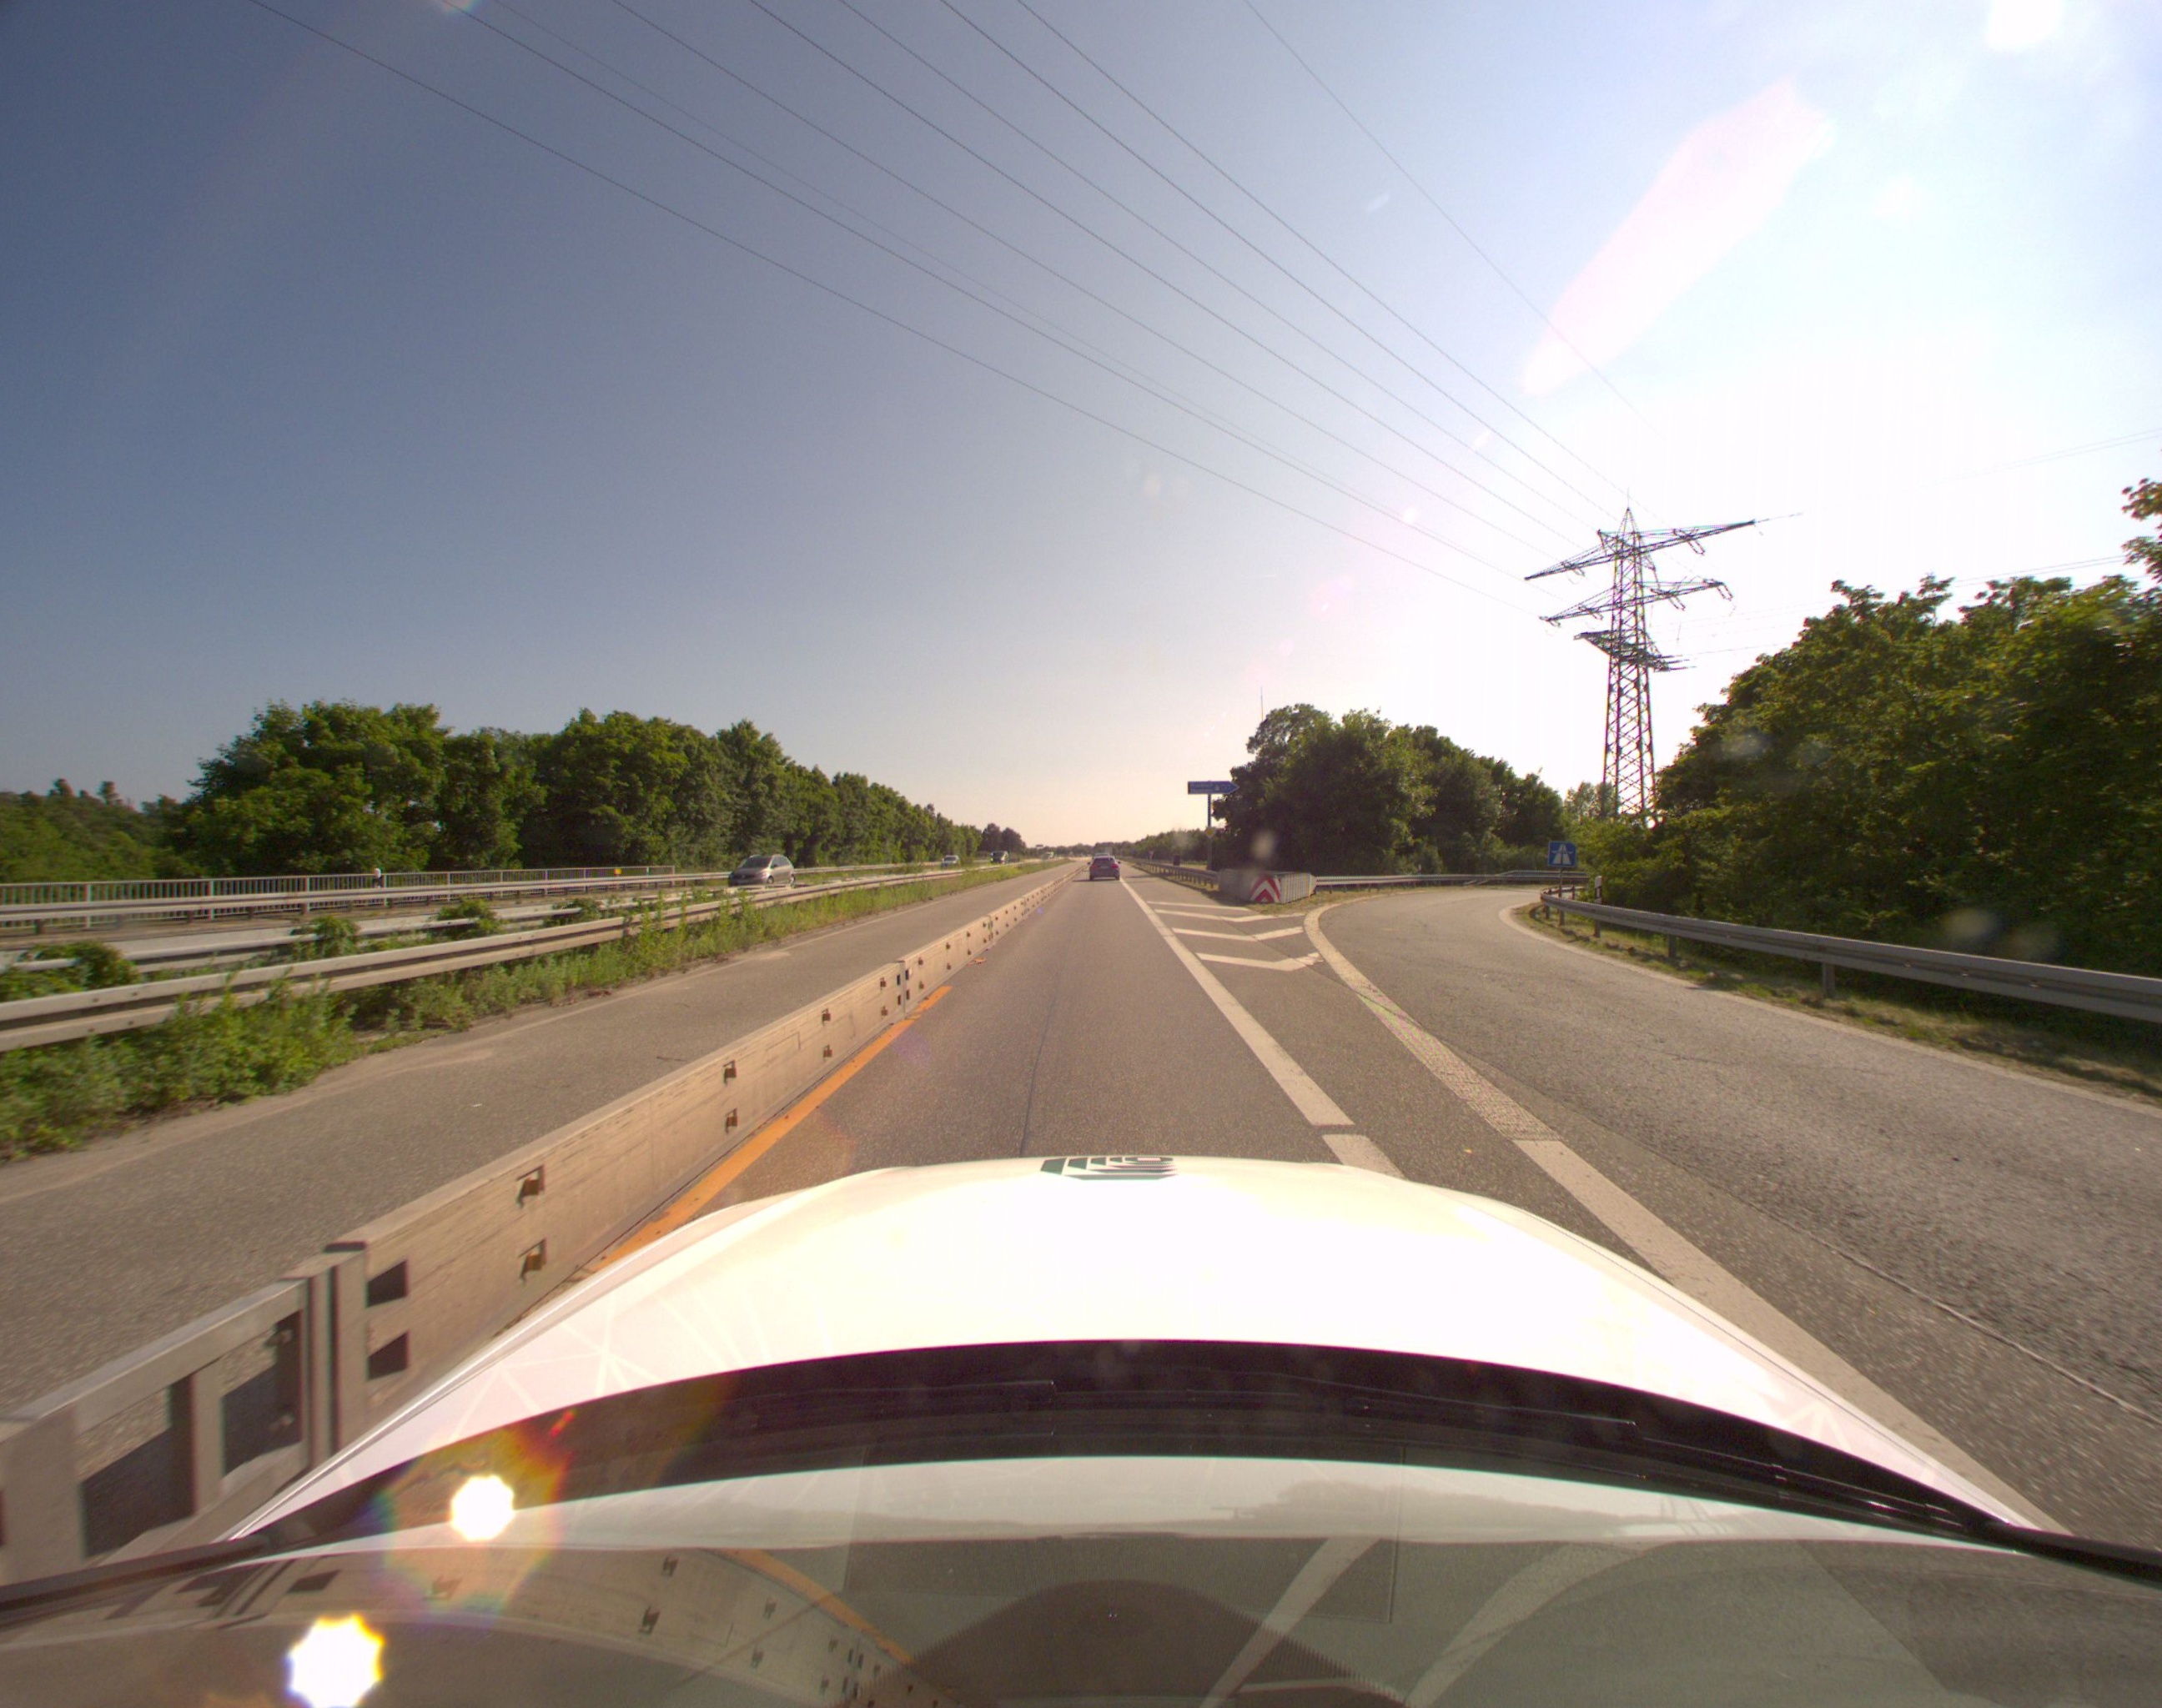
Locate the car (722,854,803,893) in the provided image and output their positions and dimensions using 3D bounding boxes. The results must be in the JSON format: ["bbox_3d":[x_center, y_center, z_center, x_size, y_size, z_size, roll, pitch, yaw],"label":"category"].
[{"bbox_3d":[-14.216,0.827,36.650,1.757,1.583,4.424,-2,0,2],"label":"car"}]

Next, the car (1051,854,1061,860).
[{"bbox_3d":[-6.195,0.693,203.546,1.750,1.470,4.806,0,0,9],"label":"car"}]

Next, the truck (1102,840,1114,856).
[{"bbox_3d":[8.761,-1.946,264.648,3.747,4.911,14.142,0,0,2],"label":"truck"}]

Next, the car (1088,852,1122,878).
[{"bbox_3d":[1.401,0.618,48.687,1.914,1.494,3.999,0,0,0],"label":"car"}]

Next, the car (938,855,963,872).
[{"bbox_3d":[-12.812,0.905,80.116,1.641,1.531,3.819,-2,0,1],"label":"car"}]

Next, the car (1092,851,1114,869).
[{"bbox_3d":[2.097,0.538,76.111,1.986,1.567,4.002,0,0,2],"label":"car"}]

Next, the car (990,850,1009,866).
[{"bbox_3d":[-10.972,0.487,110.042,1.986,2.034,5.170,-1,0,1],"label":"car"}]
